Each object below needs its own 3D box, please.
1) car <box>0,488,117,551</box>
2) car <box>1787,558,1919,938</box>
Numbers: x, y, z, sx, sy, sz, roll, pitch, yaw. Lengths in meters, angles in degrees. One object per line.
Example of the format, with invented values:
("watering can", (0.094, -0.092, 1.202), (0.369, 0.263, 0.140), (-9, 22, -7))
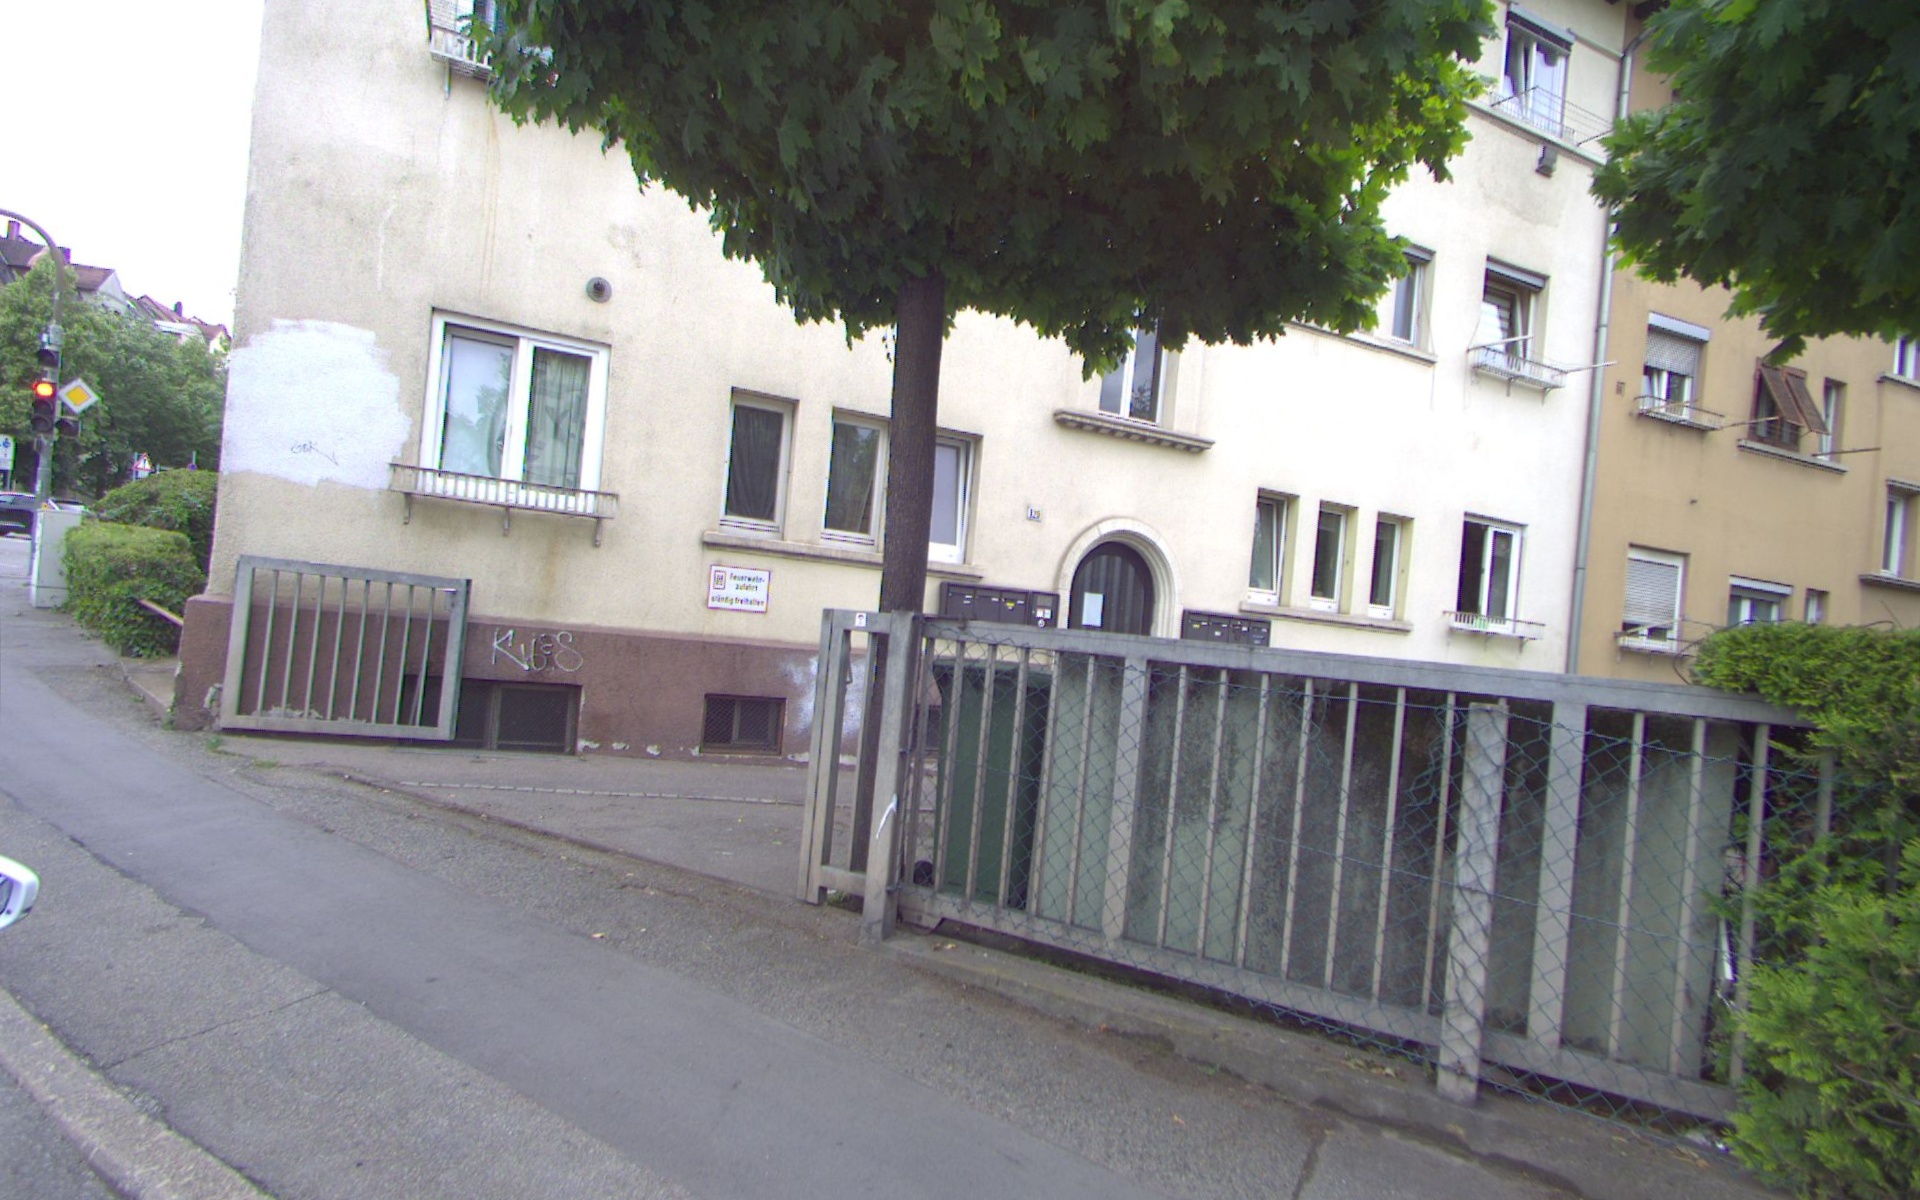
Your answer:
("car", (-30.742, -2.766, 33.166), (3.931, 1.547, 1.999), (9, -2, -6))
("car", (5.545, 0.791, 3.782), (3.381, 1.477, 1.700), (6, -2, 30))
